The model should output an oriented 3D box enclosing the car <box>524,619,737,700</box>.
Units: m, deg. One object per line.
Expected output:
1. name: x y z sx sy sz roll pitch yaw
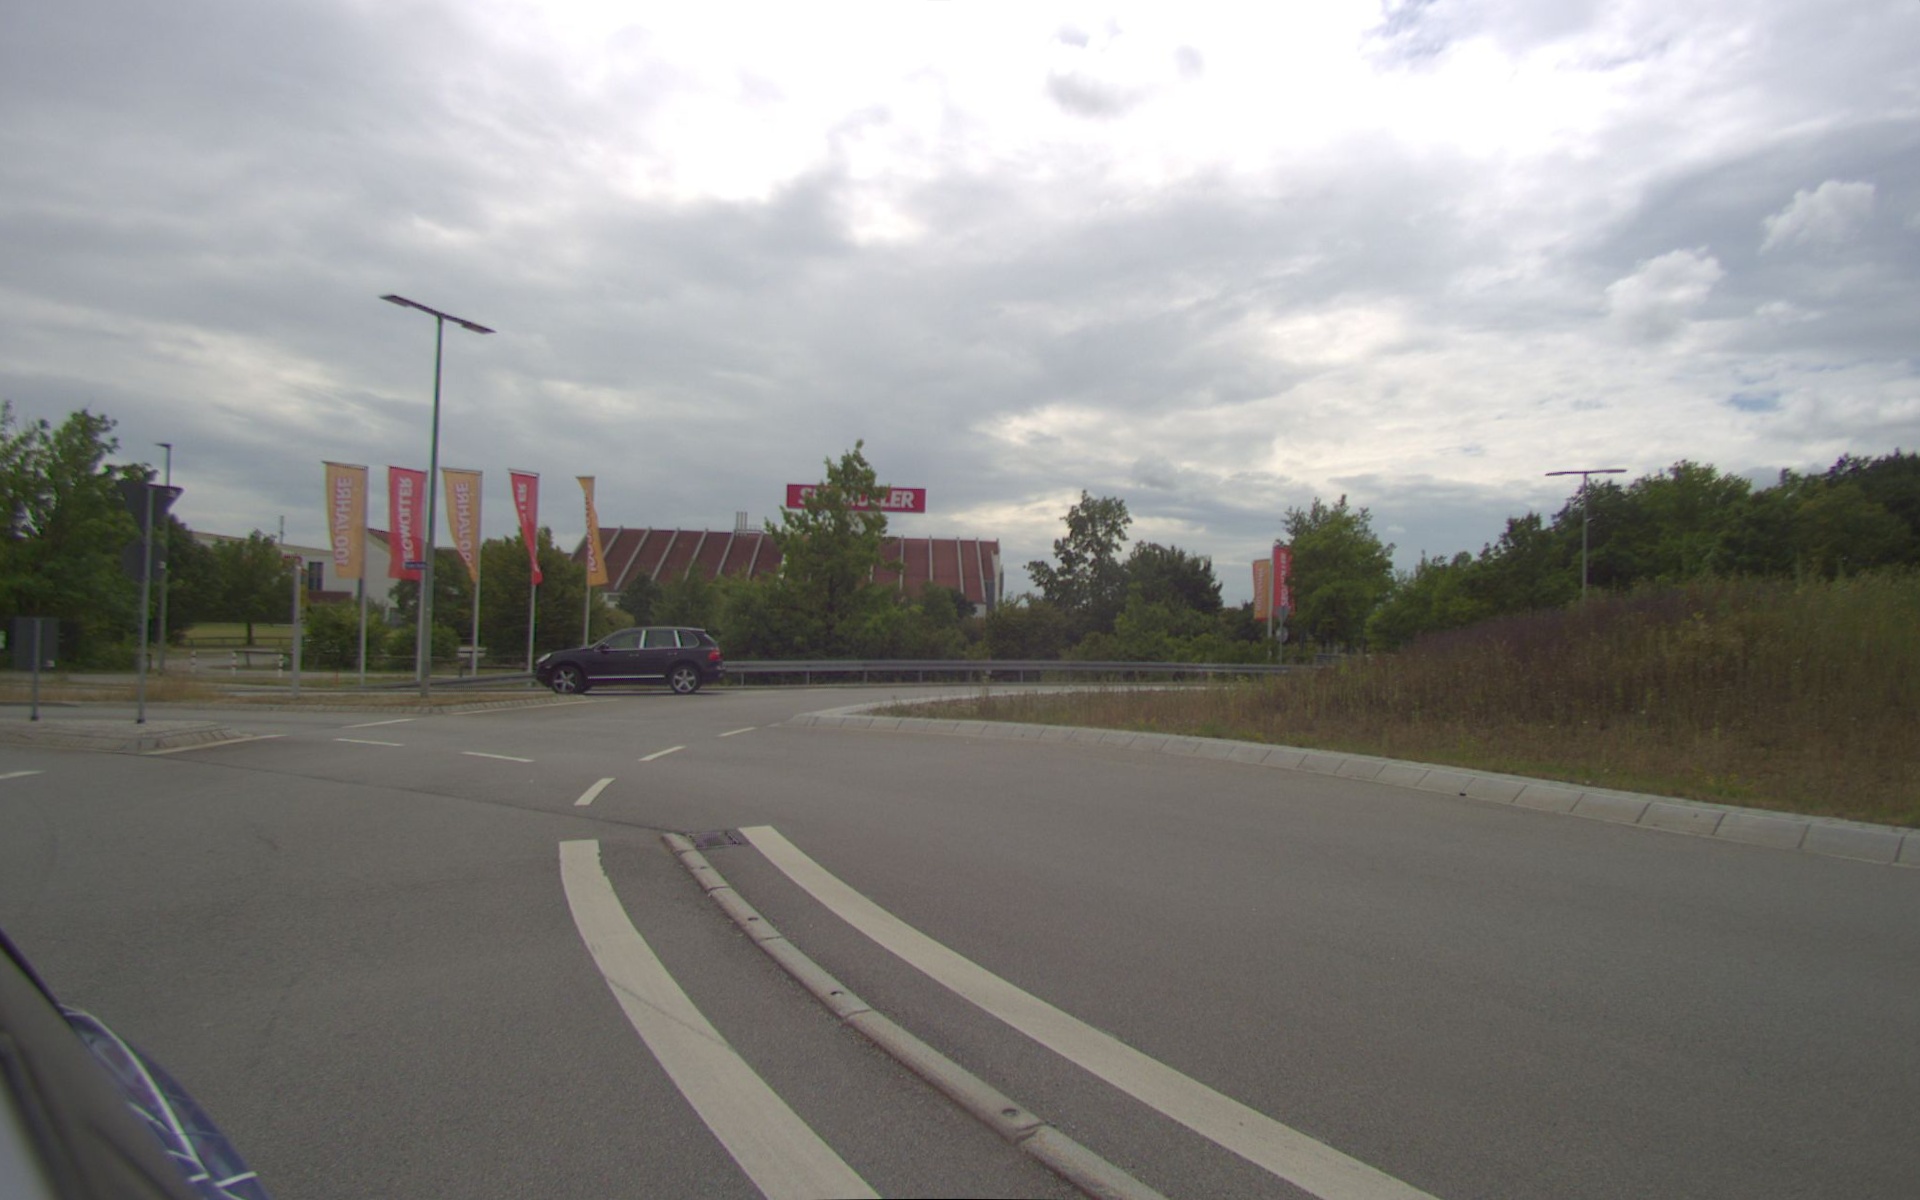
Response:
1. car: -8.258 1.530 25.813 4.967 1.805 2.110 -1 -7 -13
